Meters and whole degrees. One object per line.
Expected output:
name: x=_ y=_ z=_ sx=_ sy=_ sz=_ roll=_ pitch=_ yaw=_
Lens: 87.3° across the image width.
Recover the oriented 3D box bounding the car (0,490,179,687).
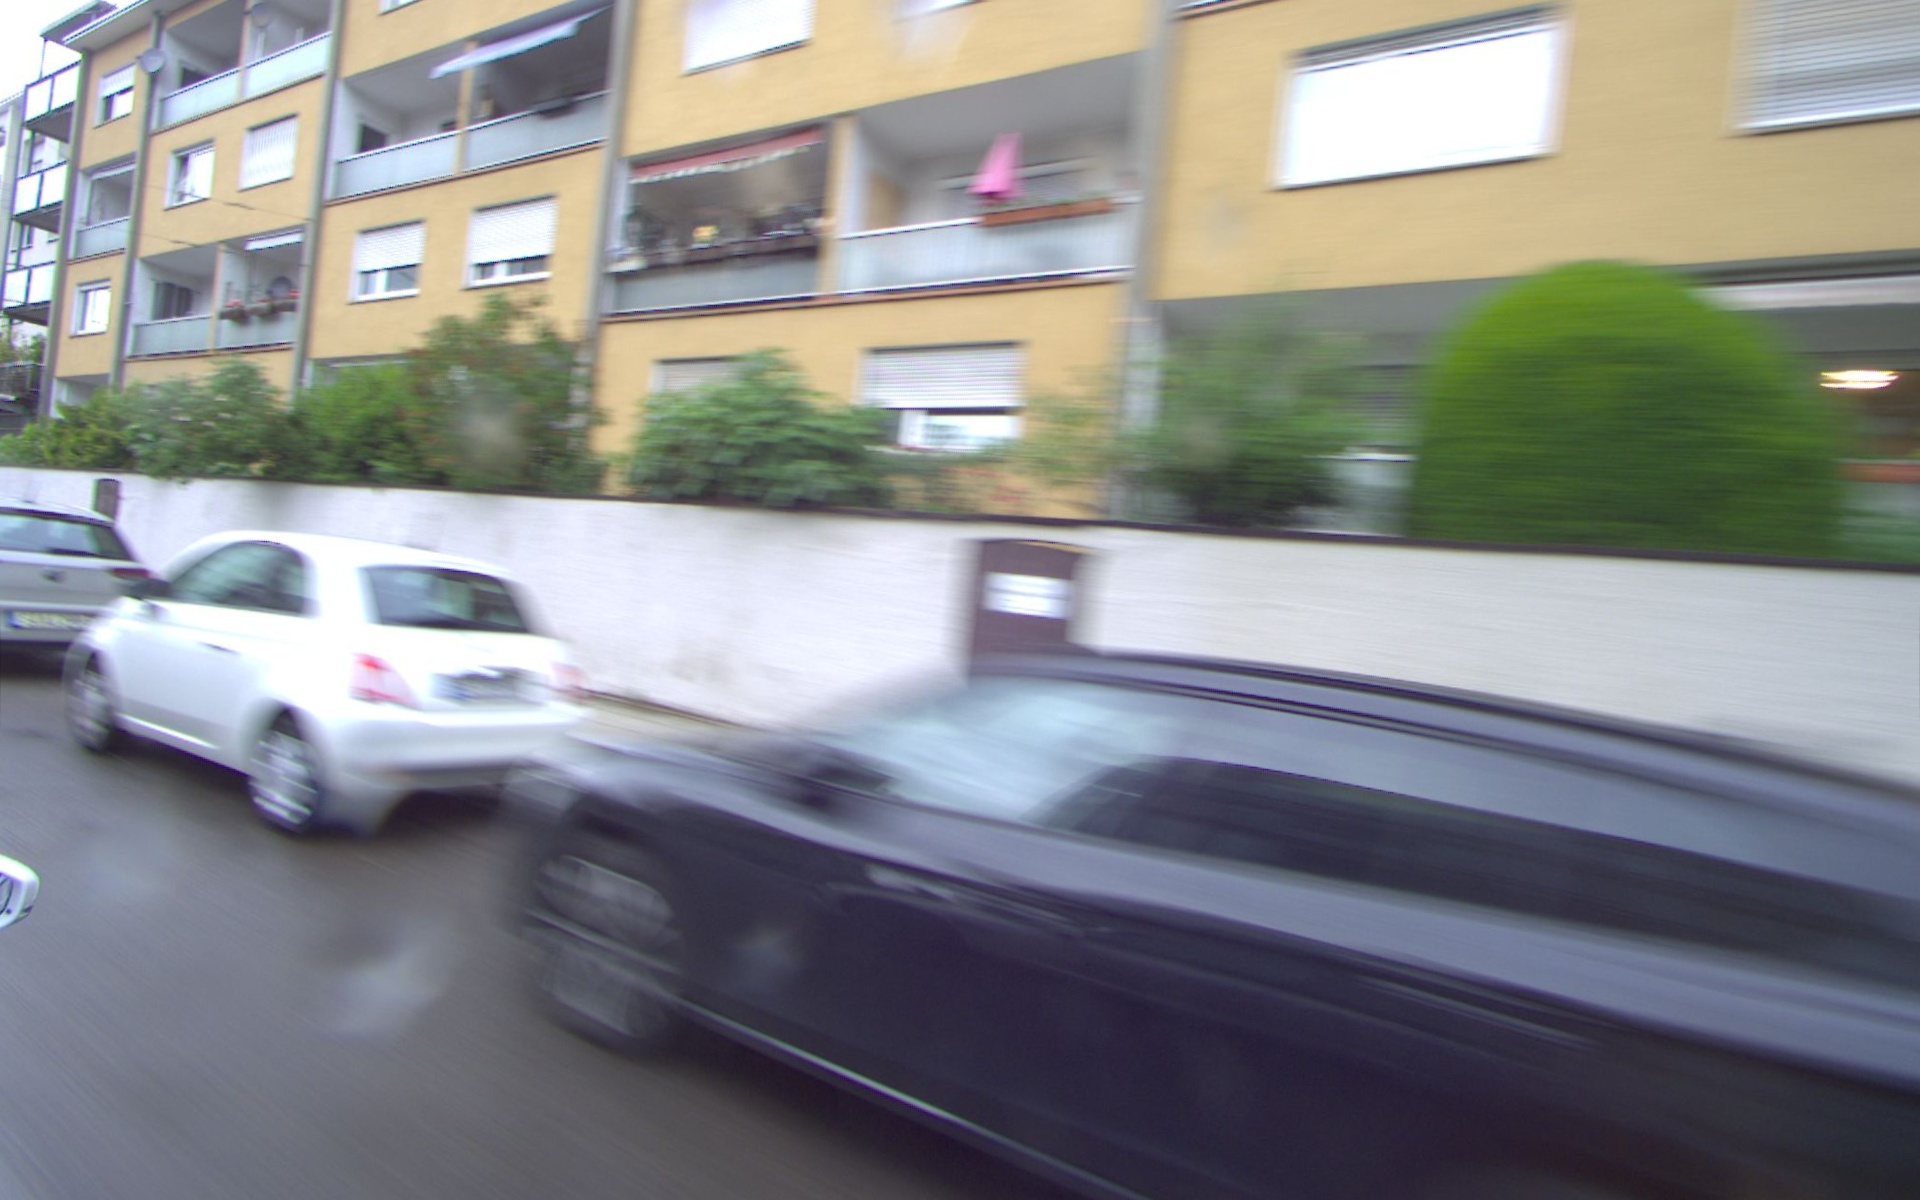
car: x=-8.934 y=-0.233 z=8.921 sx=4.033 sy=1.476 sz=1.651 roll=6 pitch=-2 yaw=30

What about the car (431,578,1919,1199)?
car: x=0.658 y=0.920 z=3.055 sx=4.377 sy=1.443 sz=1.915 roll=6 pitch=-2 yaw=31

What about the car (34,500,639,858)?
car: x=-3.930 y=0.345 z=6.252 sx=3.494 sy=1.471 sz=1.689 roll=7 pitch=-1 yaw=31
